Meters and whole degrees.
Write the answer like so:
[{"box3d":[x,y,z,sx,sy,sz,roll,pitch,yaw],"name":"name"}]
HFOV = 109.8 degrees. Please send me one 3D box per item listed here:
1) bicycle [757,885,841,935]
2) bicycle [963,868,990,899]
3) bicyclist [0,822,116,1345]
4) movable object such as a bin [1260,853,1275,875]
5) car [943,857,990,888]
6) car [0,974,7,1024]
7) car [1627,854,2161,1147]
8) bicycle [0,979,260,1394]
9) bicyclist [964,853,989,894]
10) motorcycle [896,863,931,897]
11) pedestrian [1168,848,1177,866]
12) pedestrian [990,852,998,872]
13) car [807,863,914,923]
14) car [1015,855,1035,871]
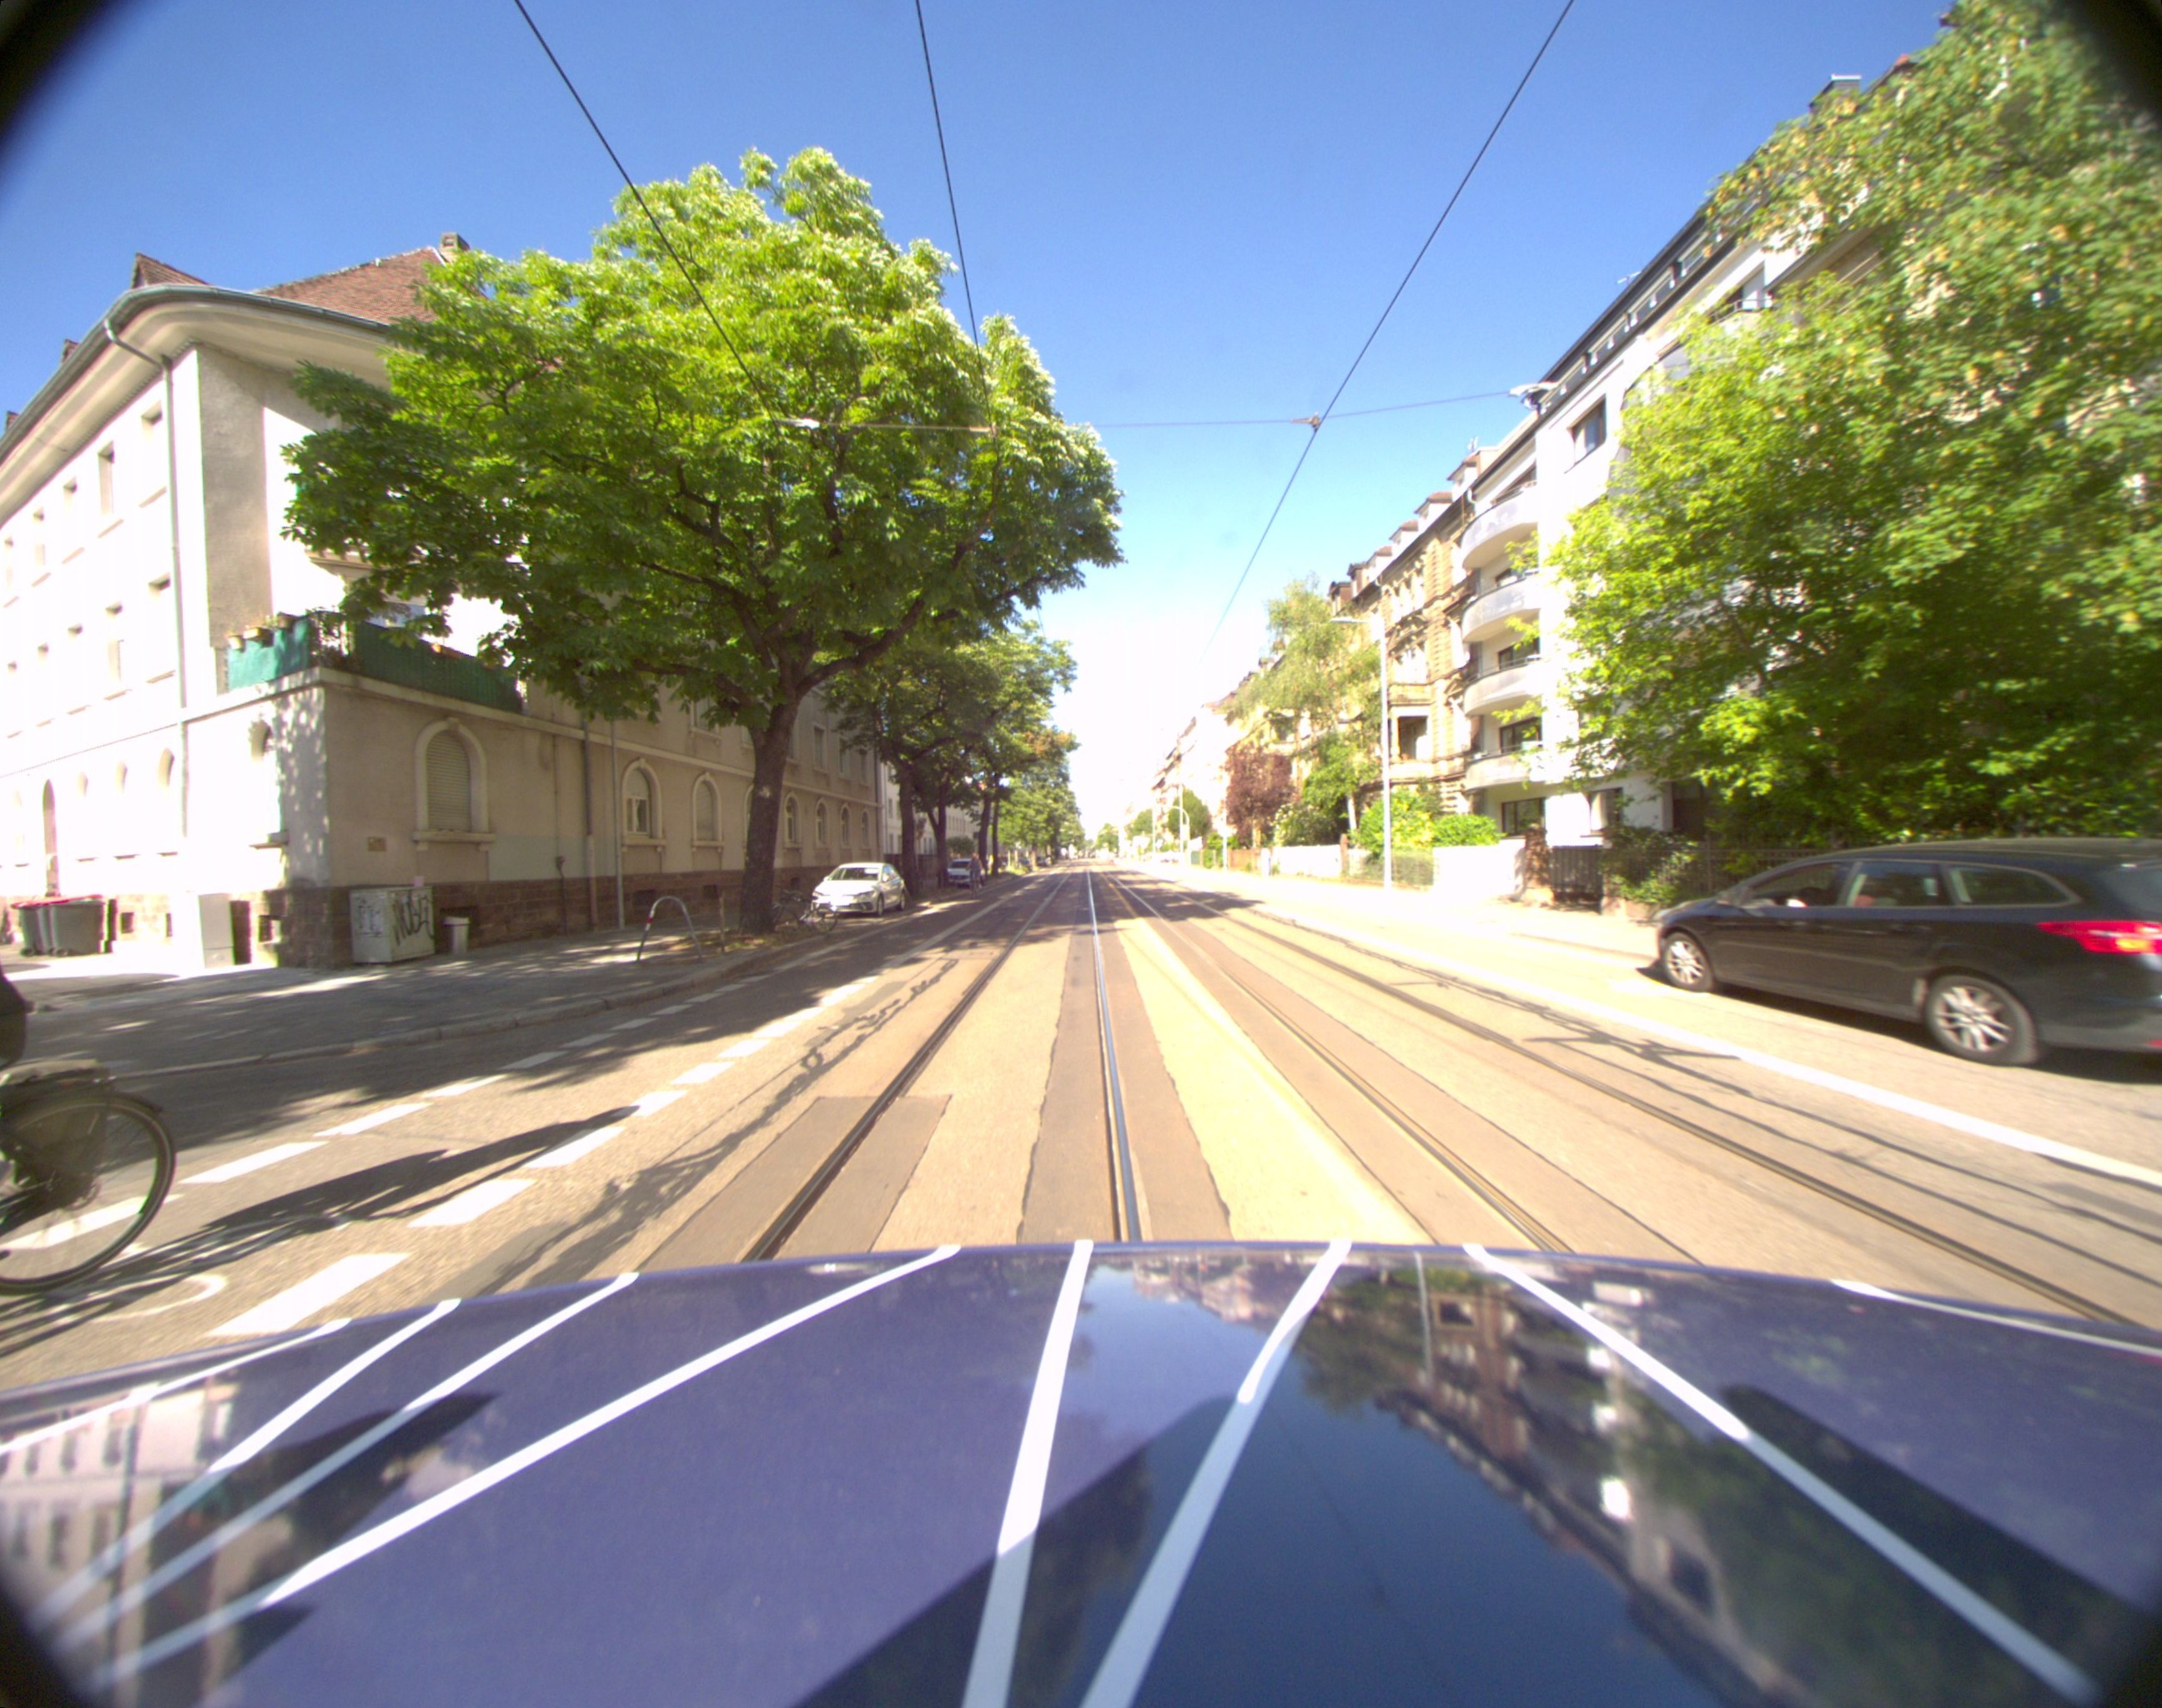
[{"box3d":[-5.955,1.176,16.119,1.570,0.974,0.640,0,0,-8],"name":"bicycle"},{"box3d":[-3.964,1.104,28.973,0.776,1.080,2.058,-2,0,-2],"name":"bicycle"},{"box3d":[-3.987,0.775,2.270,0.763,1.728,1.046,-3,1,0],"name":"bicyclist"},{"box3d":[10.272,0.540,41.886,0.590,1.169,0.665,-1,1,-4],"name":"movable object such as a bin"},{"box3d":[-5.897,0.926,39.606,1.824,1.475,4.748,0,0,-2],"name":"car"},{"box3d":[-14.469,1.303,8.860,3.431,1.530,1.725,-1,4,28],"name":"car"},{"box3d":[6.963,0.800,6.264,1.868,1.567,4.590,0,0,4],"name":"car"},{"box3d":[-3.969,1.178,2.233,0.763,1.235,2.096,-3,0,0],"name":"bicycle"},{"box3d":[-3.978,0.709,28.973,0.776,1.505,1.229,-2,1,-2],"name":"bicyclist"},{"box3d":[-6.614,1.010,30.055,0.763,1.243,2.263,-1,0,3],"name":"motorcycle"},{"box3d":[9.551,0.285,79.170,0.809,1.825,0.754,-1,1,9],"name":"pedestrian"},{"box3d":[-8.795,0.769,77.067,0.743,2.002,0.687,-2,1,-7],"name":"pedestrian"},{"box3d":[-6.052,1.019,21.370,1.705,1.463,4.214,0,0,1],"name":"car"},{"box3d":[-5.461,0.880,74.232,1.761,1.458,4.613,0,0,-2],"name":"car"}]
